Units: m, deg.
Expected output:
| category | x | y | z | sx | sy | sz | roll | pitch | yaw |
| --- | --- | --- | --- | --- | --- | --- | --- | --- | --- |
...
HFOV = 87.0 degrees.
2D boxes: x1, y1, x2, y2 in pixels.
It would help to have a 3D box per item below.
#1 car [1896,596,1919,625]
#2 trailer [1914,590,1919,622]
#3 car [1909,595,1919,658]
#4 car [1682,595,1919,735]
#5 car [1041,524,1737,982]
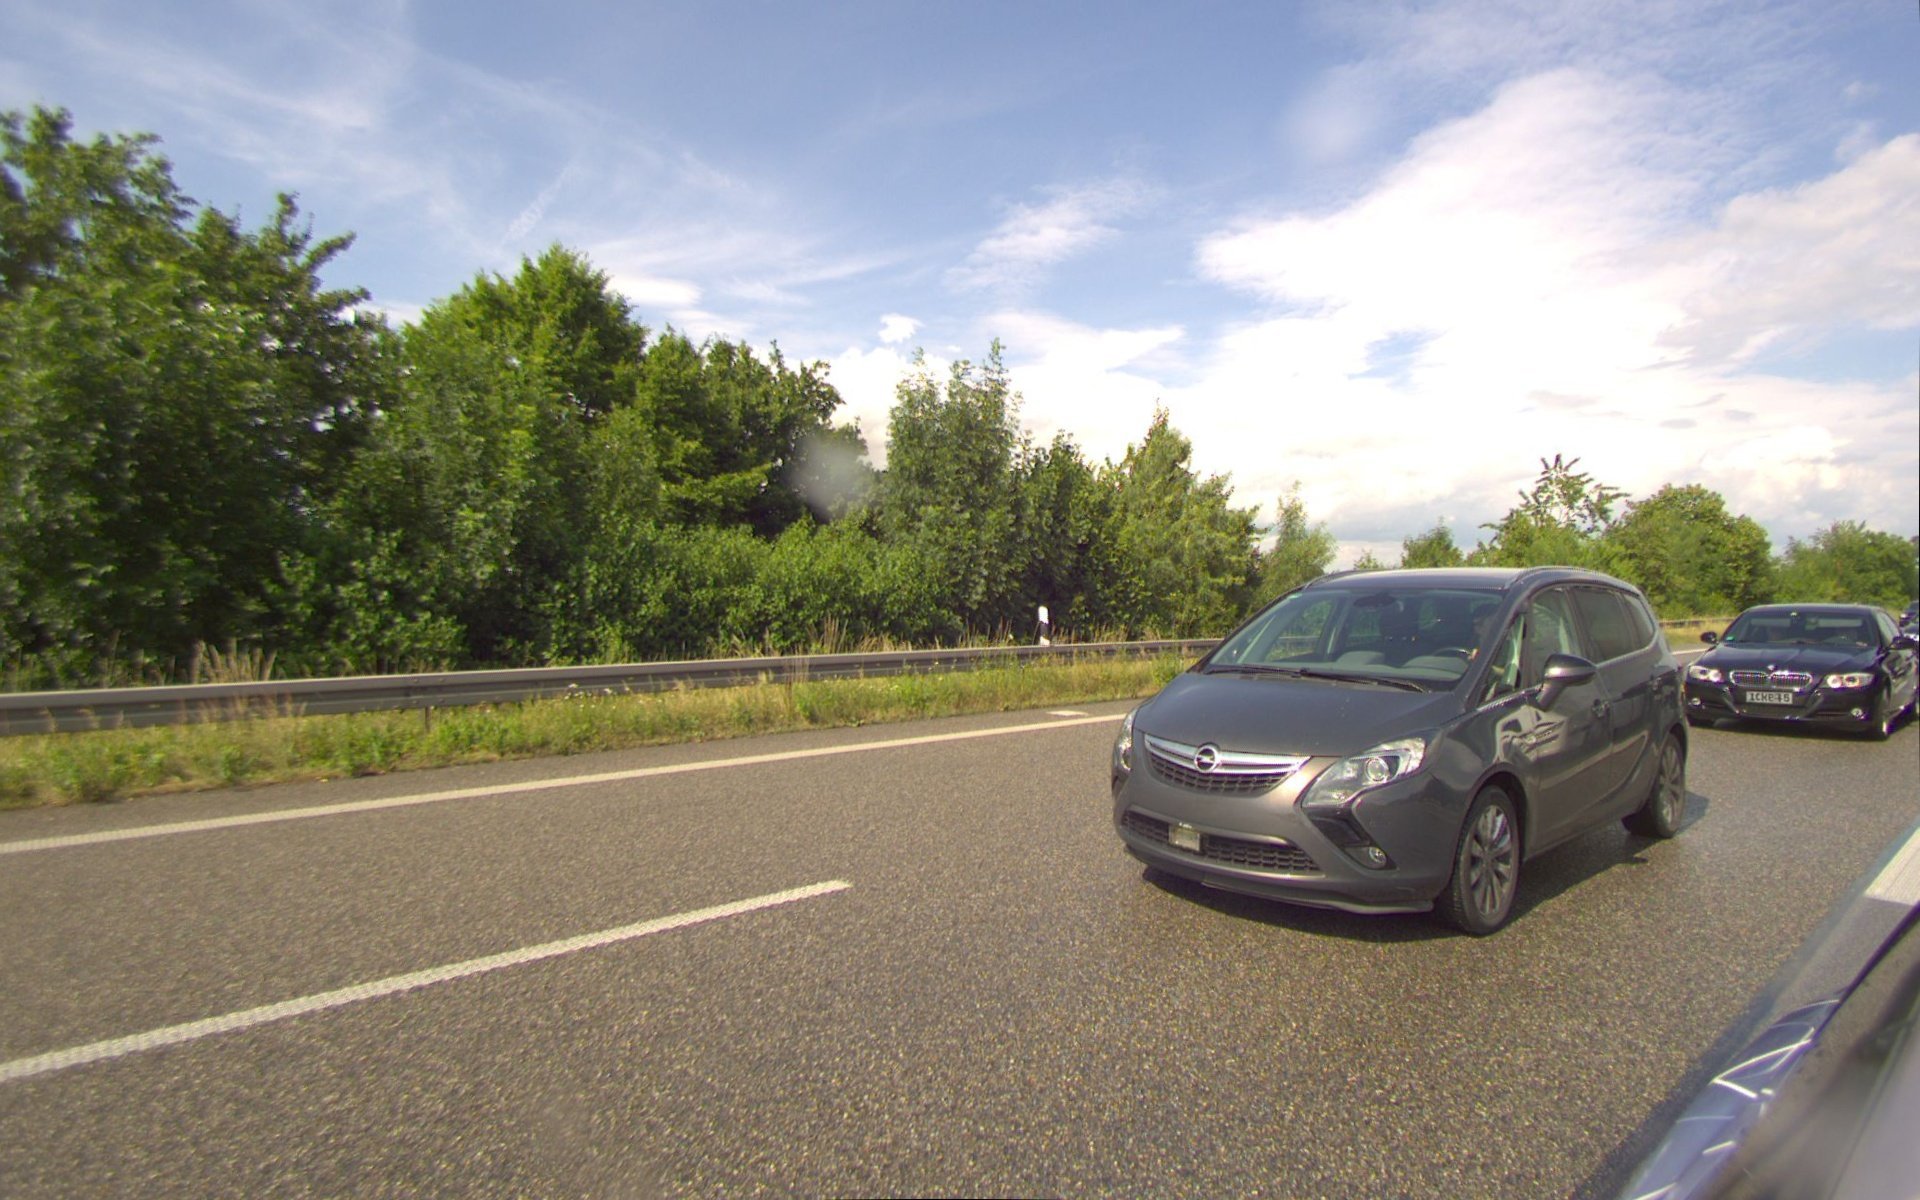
| category | x | y | z | sx | sy | sz | roll | pitch | yaw |
| --- | --- | --- | --- | --- | --- | --- | --- | --- | --- |
| car | 50.423 | 0.510 | 52.785 | 4.325 | 1.449 | 1.747 | 0 | 1 | -39 |
| trailer | 53.697 | 0.307 | 55.300 | 3.897 | 1.768 | 1.809 | 0 | 0 | -40 |
| car | 22.884 | 0.584 | 23.031 | 3.935 | 1.382 | 1.740 | 0 | 1 | -45 |
| car | 10.081 | 0.643 | 11.924 | 3.816 | 1.371 | 1.721 | 0 | 0 | -41 |
| car | 2.766 | 0.533 | 5.876 | 4.652 | 1.652 | 1.857 | 0 | 0 | -40 |
